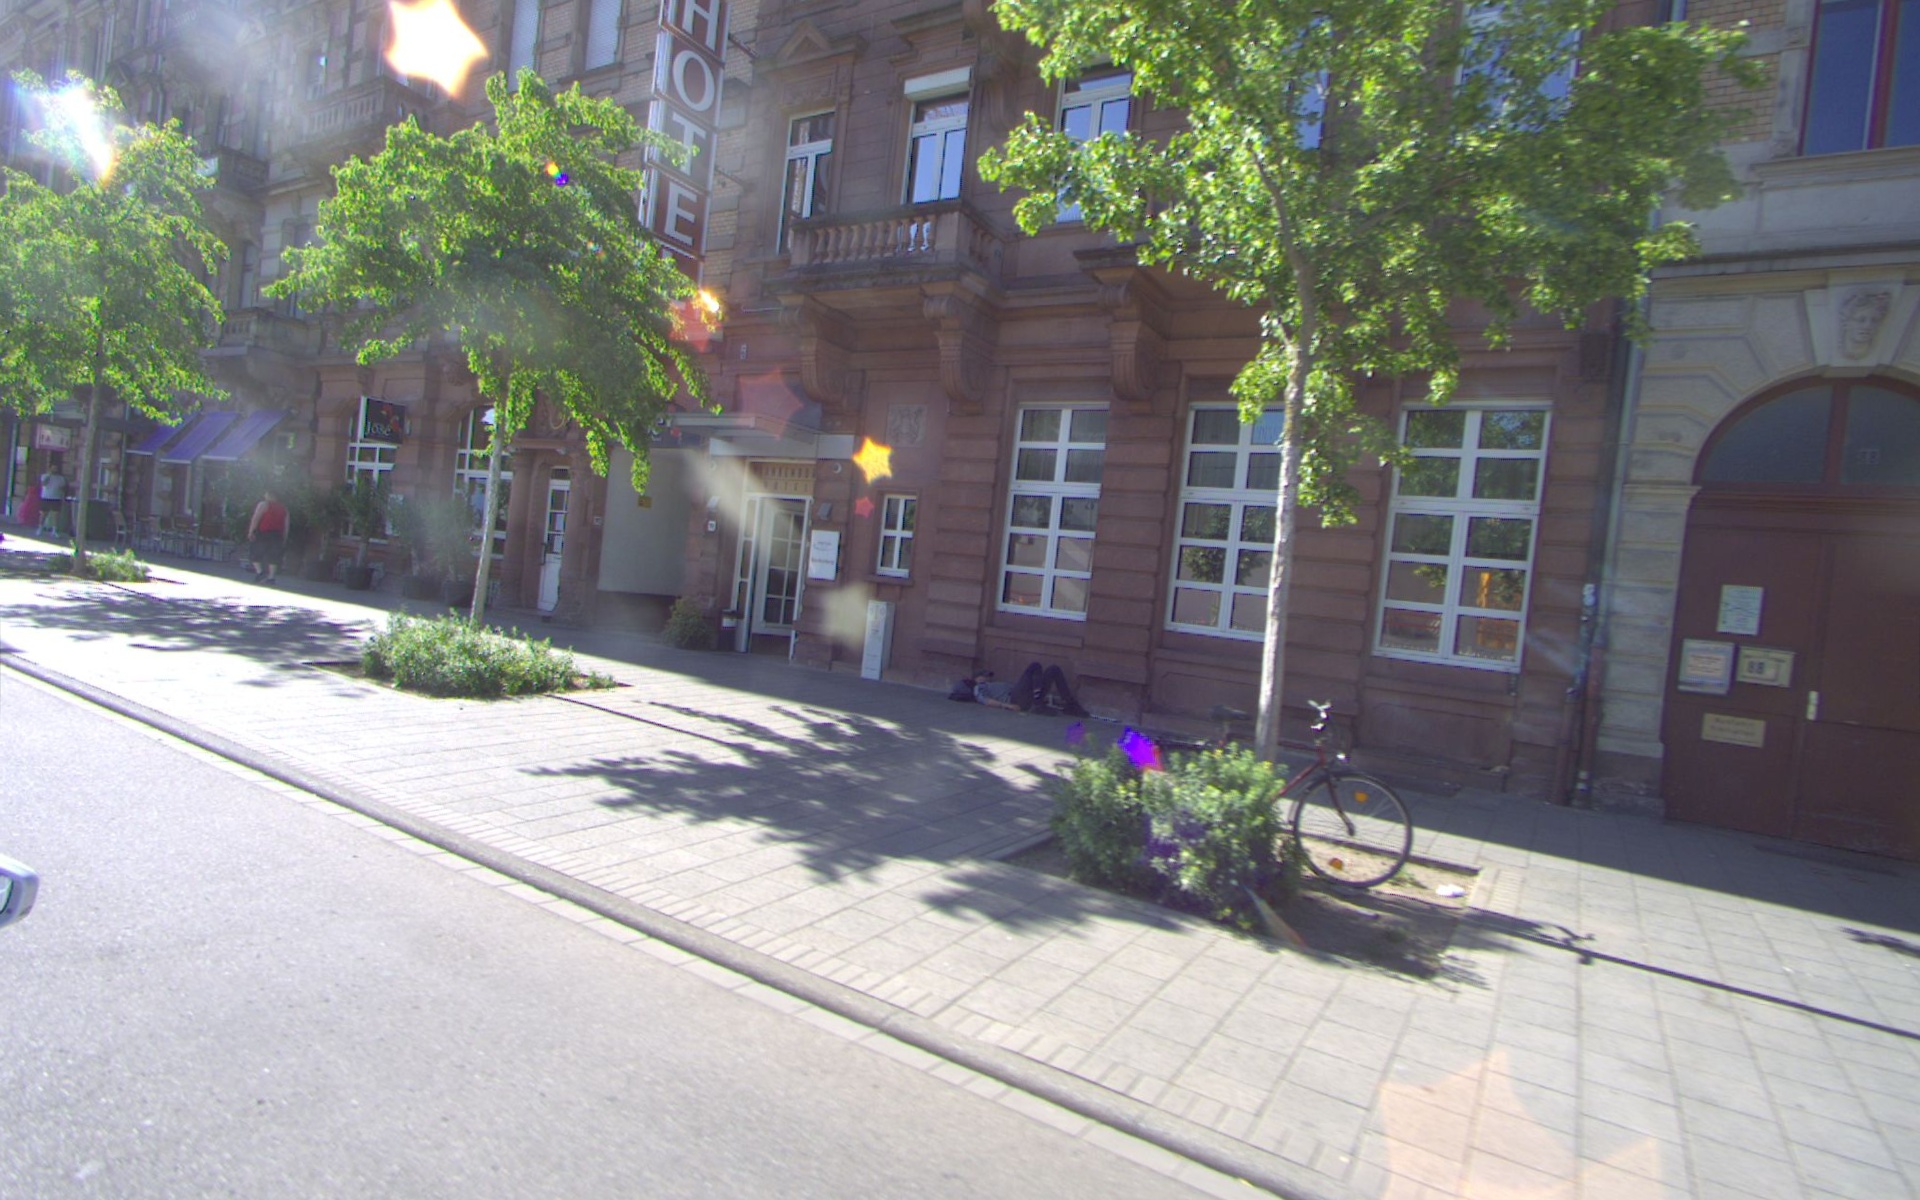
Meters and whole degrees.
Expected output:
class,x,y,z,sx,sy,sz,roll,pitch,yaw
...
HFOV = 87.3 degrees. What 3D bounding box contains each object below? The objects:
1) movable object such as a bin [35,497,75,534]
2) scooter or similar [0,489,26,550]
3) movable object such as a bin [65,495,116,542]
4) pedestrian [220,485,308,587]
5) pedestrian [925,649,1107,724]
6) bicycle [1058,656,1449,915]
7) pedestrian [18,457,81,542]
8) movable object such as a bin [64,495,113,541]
class,x,y,z,sx,sy,sz,roll,pitch,yaw
movable object such as a bin,-25.645,-2.384,28.516,0.639,0.928,0.605,7,1,28
scooter or similar,-20.434,-1.714,20.811,0.591,1.233,1.474,8,3,28
movable object such as a bin,-23.028,-2.151,26.649,0.734,1.111,0.726,7,1,28
pedestrian,-12.817,-1.164,18.540,0.852,1.754,0.996,6,2,31
pedestrian,0.642,0.992,11.862,1.974,0.560,0.774,7,1,32
bicycle,1.762,1.044,6.180,2.134,1.135,0.651,6,2,26
pedestrian,-23.517,-2.580,25.983,1.029,2.038,0.818,4,-1,32
movable object such as a bin,-23.565,-2.222,27.208,0.734,1.111,0.726,7,1,28
